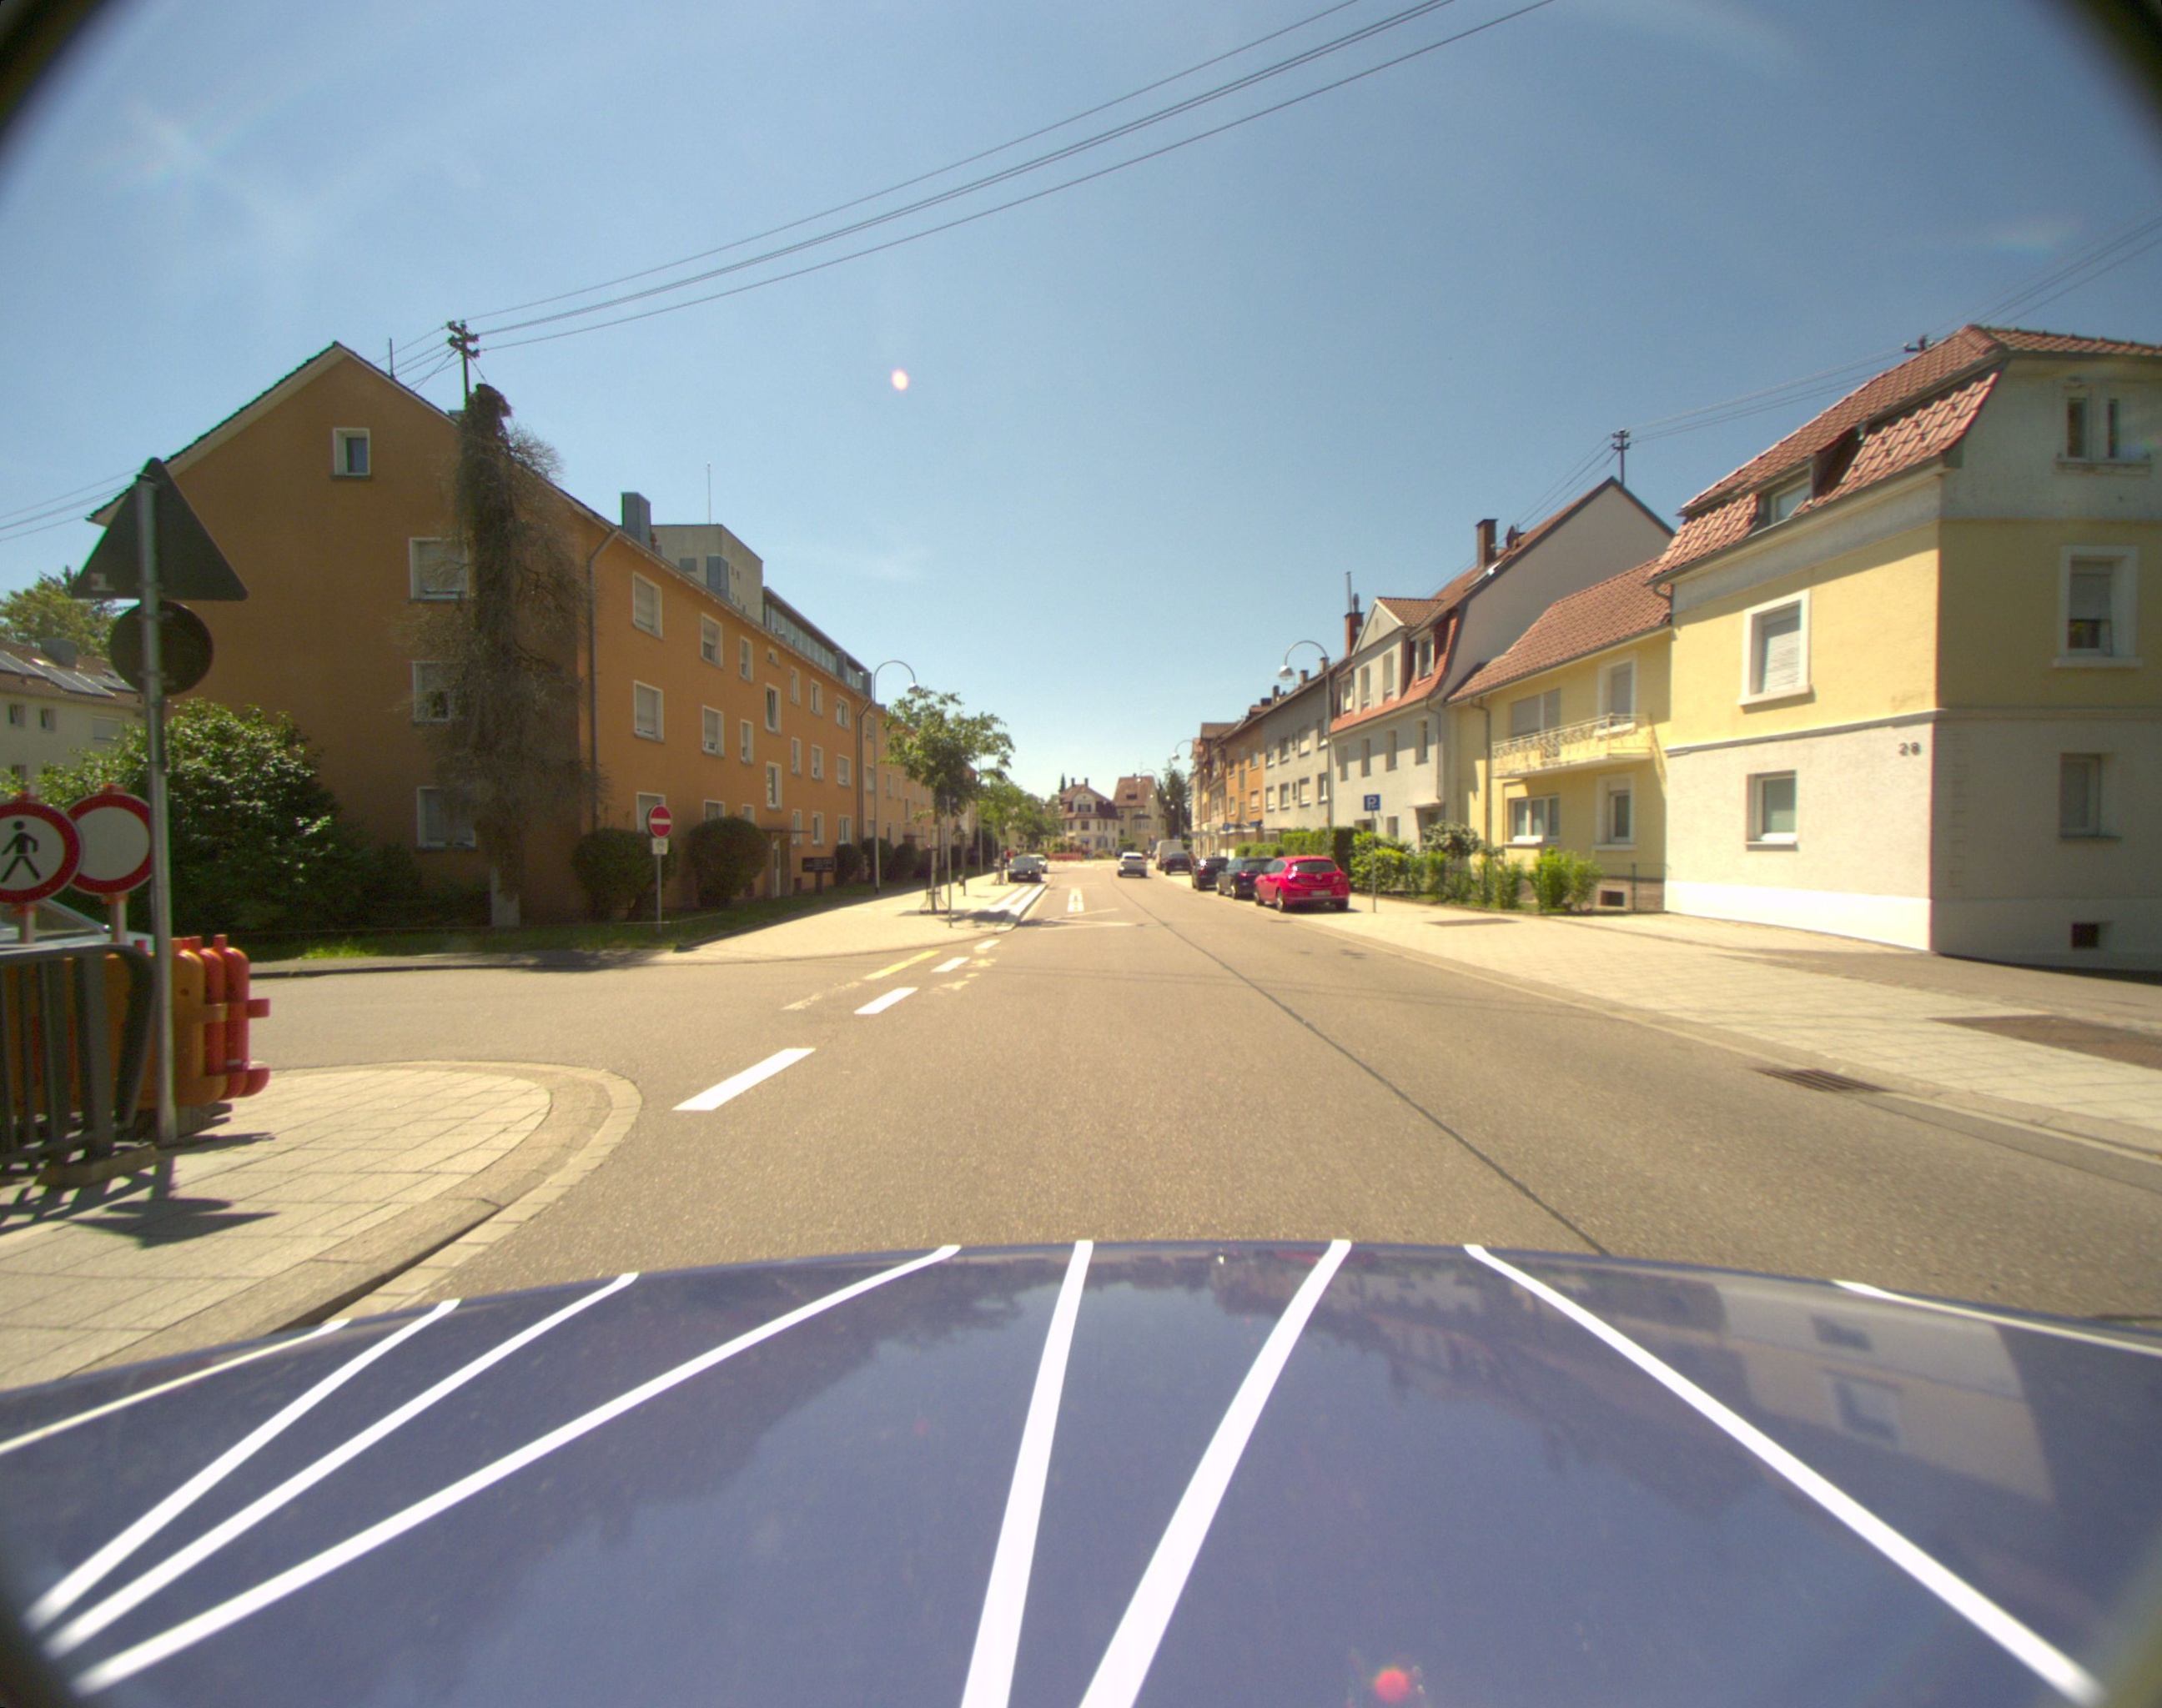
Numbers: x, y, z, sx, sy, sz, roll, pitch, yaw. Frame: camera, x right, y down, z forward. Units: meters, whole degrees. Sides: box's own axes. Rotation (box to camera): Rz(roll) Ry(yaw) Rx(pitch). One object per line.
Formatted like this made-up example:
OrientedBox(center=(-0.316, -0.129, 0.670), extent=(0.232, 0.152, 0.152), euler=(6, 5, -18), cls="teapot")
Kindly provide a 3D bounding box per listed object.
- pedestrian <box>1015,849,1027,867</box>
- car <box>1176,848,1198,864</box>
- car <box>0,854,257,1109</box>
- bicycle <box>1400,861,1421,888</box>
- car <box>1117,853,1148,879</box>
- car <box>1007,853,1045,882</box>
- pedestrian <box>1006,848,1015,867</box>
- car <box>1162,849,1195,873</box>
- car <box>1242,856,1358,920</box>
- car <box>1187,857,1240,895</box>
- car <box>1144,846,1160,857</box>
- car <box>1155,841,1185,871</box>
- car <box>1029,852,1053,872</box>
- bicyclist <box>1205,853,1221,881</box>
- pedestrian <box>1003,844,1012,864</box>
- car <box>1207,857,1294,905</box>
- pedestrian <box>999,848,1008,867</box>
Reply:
OrientedBox(center=(-5.826, 0.363, 73.757), extent=(1.174, 1.723, 1.190), euler=(2, 2, -5), cls="pedestrian")
OrientedBox(center=(10.425, 0.172, 75.068), extent=(1.798, 1.532, 4.116), euler=(-2, 1, 4), cls="car")
OrientedBox(center=(-10.017, 1.014, 6.125), extent=(4.351, 1.828, 1.748), euler=(-2, 2, -8), cls="car")
OrientedBox(center=(11.982, 0.750, 27.673), extent=(0.233, 0.902, 1.163), euler=(-1, 2, -2), cls="bicycle")
OrientedBox(center=(3.429, 0.747, 50.791), extent=(1.882, 1.587, 4.359), euler=(1, 1, 2), cls="car")
OrientedBox(center=(-3.129, 0.744, 43.913), extent=(1.838, 1.495, 5.062), euler=(1, 1, -1), cls="car")
OrientedBox(center=(-6.752, 0.297, 73.136), extent=(0.790, 1.801, 1.005), euler=(2, 1, -4), cls="pedestrian")
OrientedBox(center=(7.017, 0.459, 54.311), extent=(2.089, 1.605, 5.112), euler=(-2, 0, 9), cls="car")
OrientedBox(center=(6.075, 0.868, 21.685), extent=(1.882, 1.471, 4.737), euler=(-3, 1, 0), cls="car")
OrientedBox(center=(5.779, 0.941, 33.640), extent=(1.792, 1.450, 4.198), euler=(-3, 0, 4), cls="car")
OrientedBox(center=(10.763, -0.342, 115.748), extent=(1.800, 1.481, 4.388), euler=(-2, 2, -2), cls="car")
OrientedBox(center=(7.620, 0.132, 65.447), extent=(2.124, 2.435, 6.118), euler=(-2, 1, 3), cls="car")
OrientedBox(center=(-3.248, 0.622, 60.615), extent=(1.818, 1.468, 4.504), euler=(1, 1, -4), cls="car")
OrientedBox(center=(7.884, 0.766, 45.398), extent=(0.784, 1.650, 0.835), euler=(0, 1, -2), cls="bicyclist")
OrientedBox(center=(-6.762, -0.013, 69.923), extent=(0.823, 1.843, 0.984), euler=(-1, 1, -4), cls="pedestrian")
OrientedBox(center=(5.986, 0.884, 27.467), extent=(1.868, 1.453, 5.306), euler=(-2, 0, -1), cls="car")
OrientedBox(center=(-7.509, 0.340, 73.518), extent=(0.796, 1.768, 1.008), euler=(0, 1, -4), cls="pedestrian")
